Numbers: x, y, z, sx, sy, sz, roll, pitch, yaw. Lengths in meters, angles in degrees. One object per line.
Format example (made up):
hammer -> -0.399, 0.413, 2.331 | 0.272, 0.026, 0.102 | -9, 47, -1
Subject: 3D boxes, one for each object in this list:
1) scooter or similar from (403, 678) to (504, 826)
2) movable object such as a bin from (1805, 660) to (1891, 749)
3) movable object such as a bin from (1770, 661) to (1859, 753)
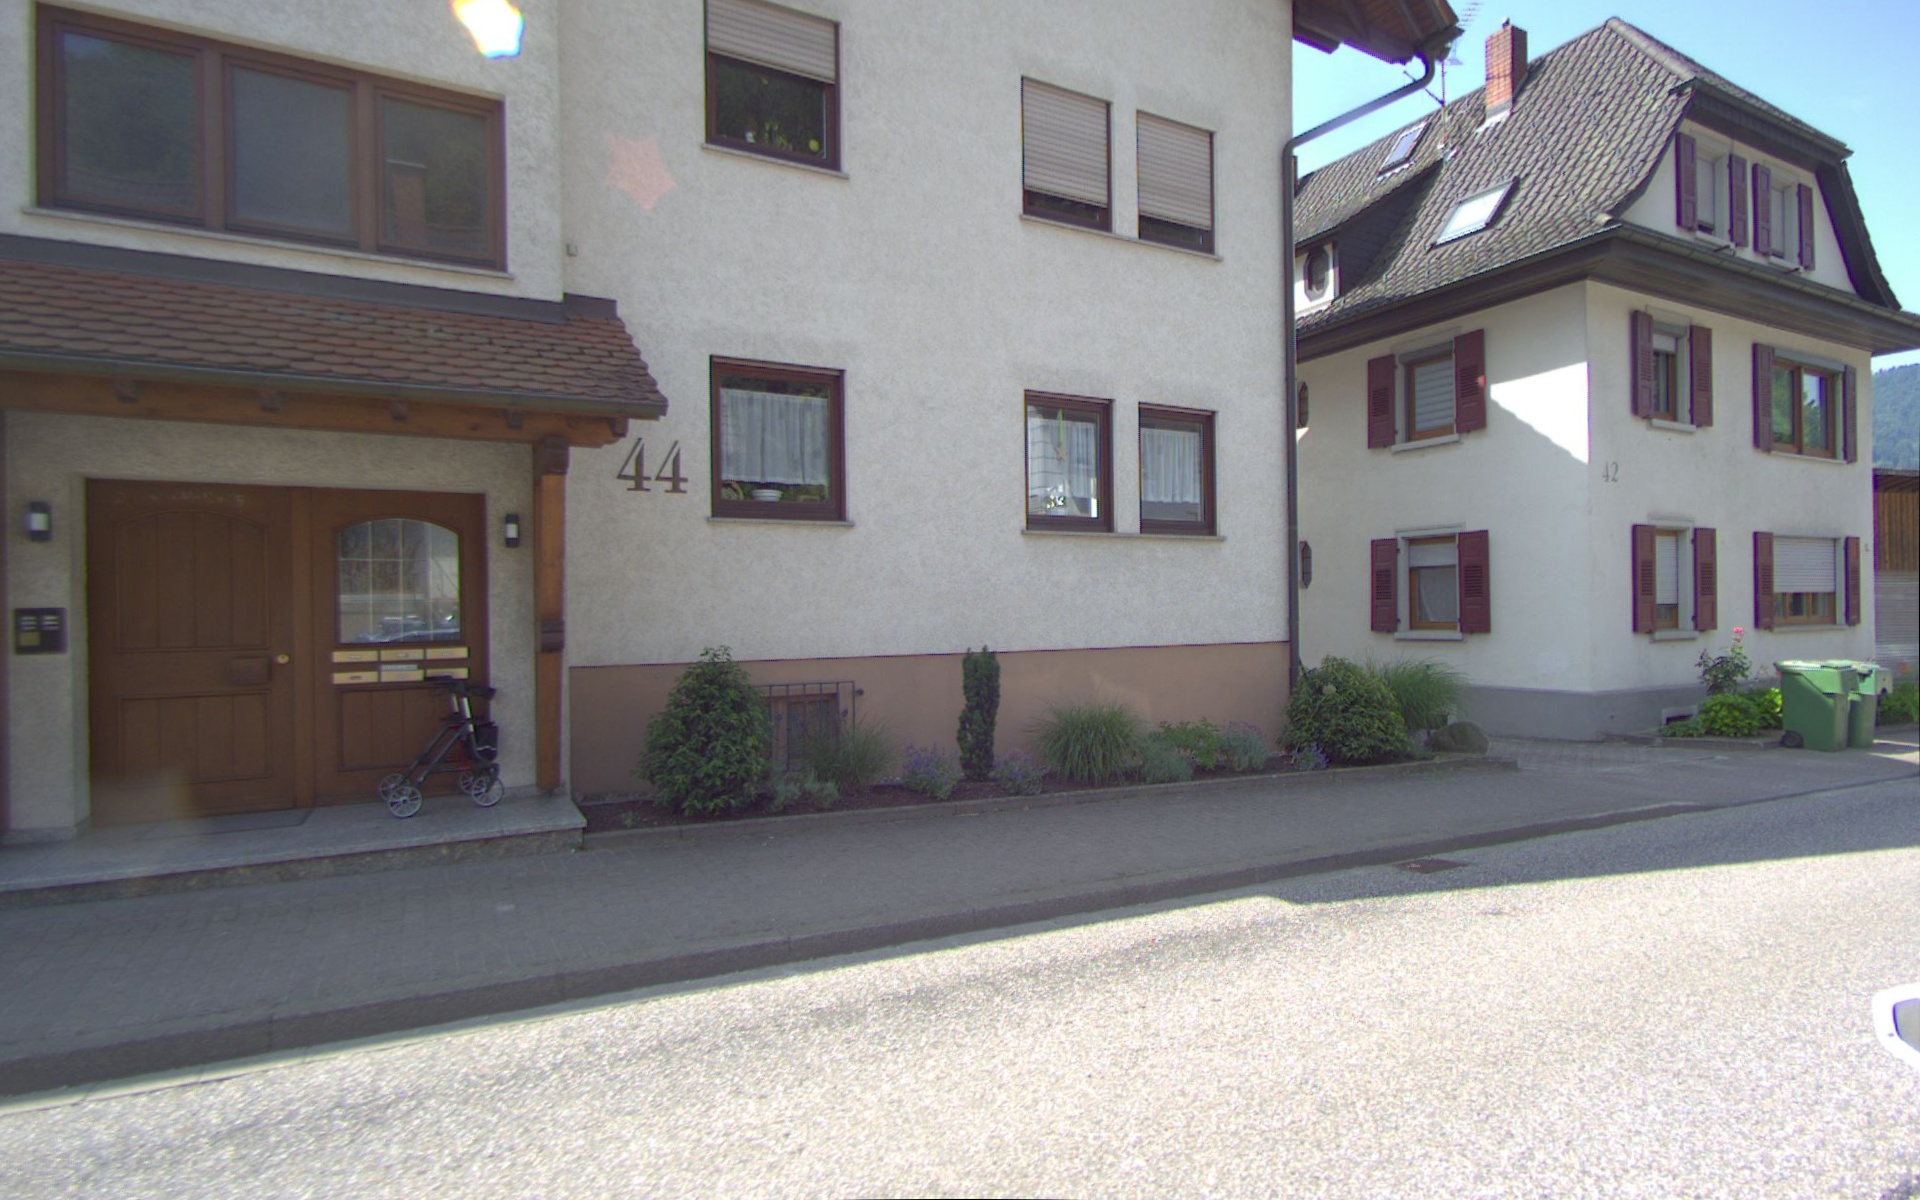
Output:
scooter or similar -> -3.181, 0.926, 6.301 | 0.531, 0.837, 0.503 | 1, -2, -30
movable object such as a bin -> 11.372, 1.316, 12.870 | 0.614, 1.081, 0.672 | 1, -2, -31
movable object such as a bin -> 10.669, 1.318, 12.544 | 0.646, 1.081, 0.672 | 1, -2, -31
